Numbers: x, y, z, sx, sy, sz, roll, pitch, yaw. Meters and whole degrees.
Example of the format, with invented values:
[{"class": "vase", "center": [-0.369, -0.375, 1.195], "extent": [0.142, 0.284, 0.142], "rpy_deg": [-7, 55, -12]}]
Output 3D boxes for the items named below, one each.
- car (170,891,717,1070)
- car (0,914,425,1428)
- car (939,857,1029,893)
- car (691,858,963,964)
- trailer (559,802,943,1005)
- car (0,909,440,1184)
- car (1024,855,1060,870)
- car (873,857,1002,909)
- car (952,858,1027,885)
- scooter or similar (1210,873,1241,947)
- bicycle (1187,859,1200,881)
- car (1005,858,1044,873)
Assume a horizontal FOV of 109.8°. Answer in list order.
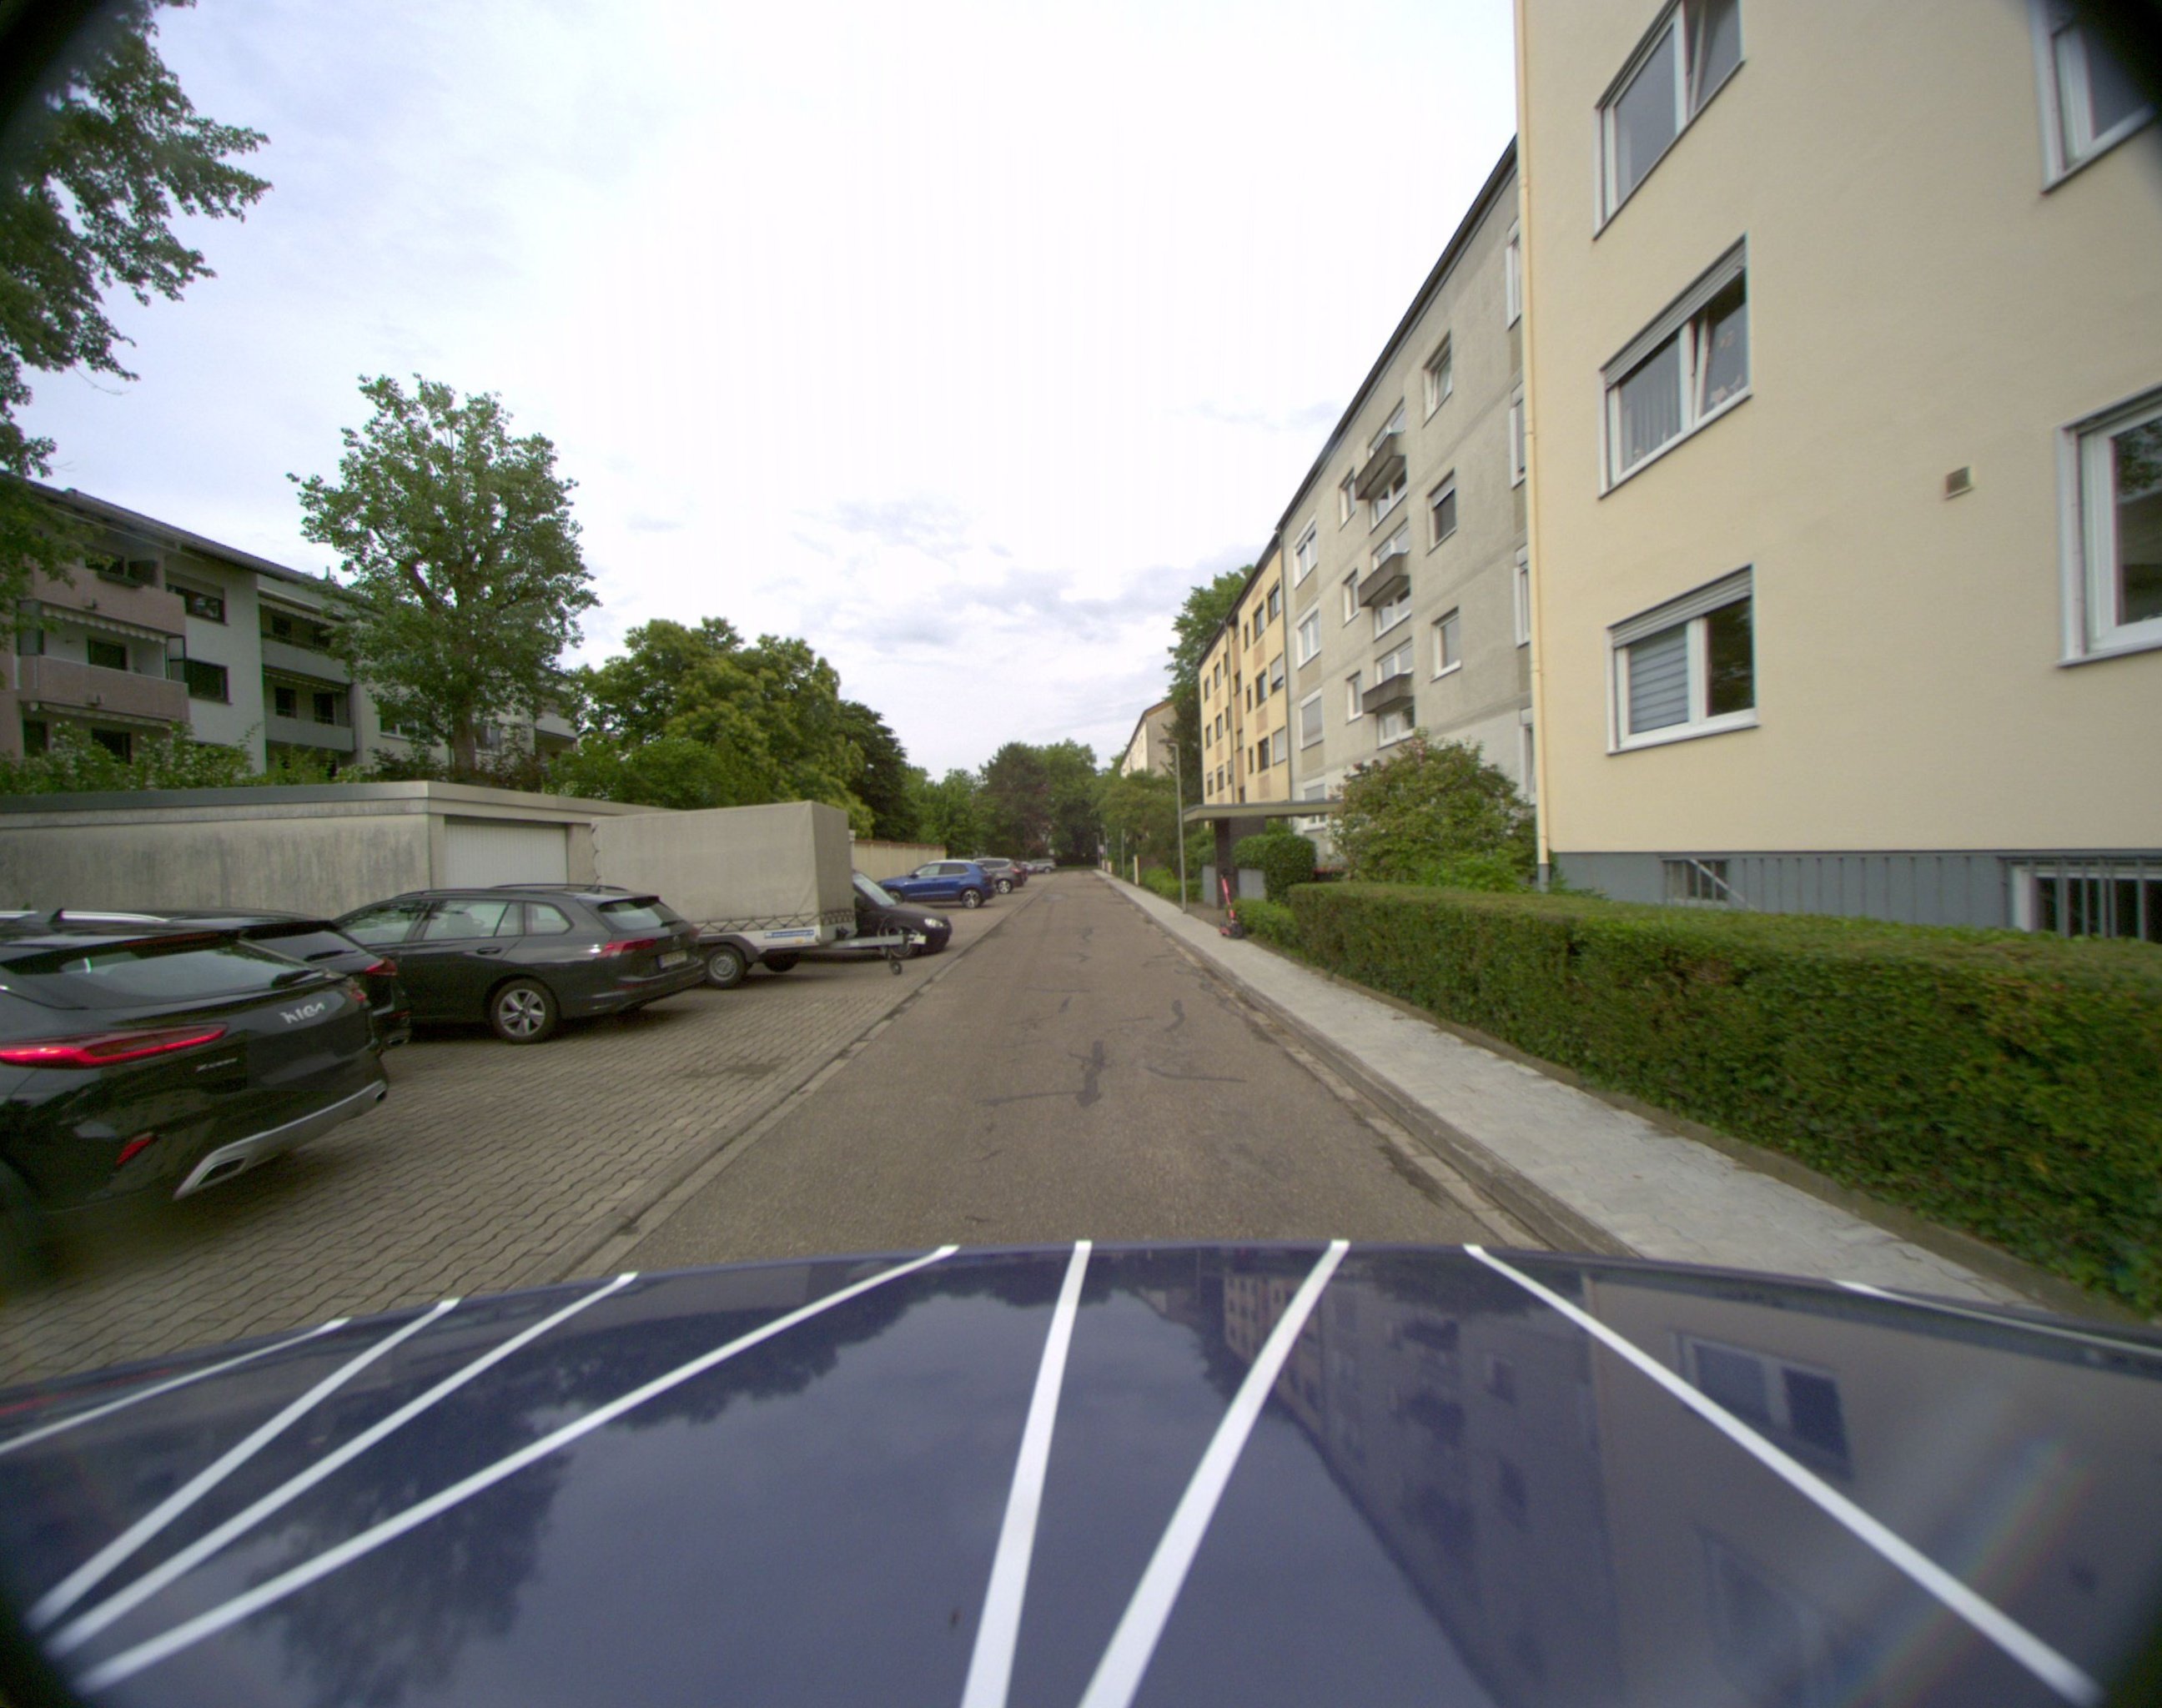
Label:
[{"class": "car", "center": [-6.193, 1.194, 7.742], "extent": [4.138, 1.440, 1.612], "rpy_deg": [-2, 0, -1]}, {"class": "car", "center": [-5.649, 1.120, 3.114], "extent": [4.001, 1.543, 1.998], "rpy_deg": [0, 0, -11]}, {"class": "car", "center": [-4.703, 1.023, 37.413], "extent": [4.206, 1.717, 2.000], "rpy_deg": [0, 0, -1]}, {"class": "car", "center": [-4.476, 0.973, 13.950], "extent": [4.322, 1.791, 2.000], "rpy_deg": [0, 0, -1]}, {"class": "trailer", "center": [-4.563, 0.657, 11.073], "extent": [4.621, 2.510, 1.942], "rpy_deg": [-2, 0, 0]}, {"class": "car", "center": [-7.377, 1.229, 5.421], "extent": [4.005, 1.440, 1.915], "rpy_deg": [-2, 0, 3]}, {"class": "car", "center": [-4.508, 1.022, 88.573], "extent": [4.104, 1.636, 1.787], "rpy_deg": [-1, 0, -1]}, {"class": "car", "center": [-4.803, 0.953, 25.856], "extent": [3.997, 1.693, 2.000], "rpy_deg": [0, 0, -1]}, {"class": "car", "center": [-5.438, 1.013, 45.728], "extent": [4.299, 1.577, 1.935], "rpy_deg": [0, 0, -1]}, {"class": "scooter or similar", "center": [2.530, 0.958, 13.373], "extent": [0.273, 1.203, 1.164], "rpy_deg": [-2, 0, -1]}, {"class": "bicycle", "center": [5.577, 0.783, 37.643], "extent": [0.315, 1.045, 1.691], "rpy_deg": [-1, -1, -2]}, {"class": "car", "center": [-6.202, 1.270, 83.563], "extent": [4.104, 1.476, 1.787], "rpy_deg": [-1, 0, -1]}]
